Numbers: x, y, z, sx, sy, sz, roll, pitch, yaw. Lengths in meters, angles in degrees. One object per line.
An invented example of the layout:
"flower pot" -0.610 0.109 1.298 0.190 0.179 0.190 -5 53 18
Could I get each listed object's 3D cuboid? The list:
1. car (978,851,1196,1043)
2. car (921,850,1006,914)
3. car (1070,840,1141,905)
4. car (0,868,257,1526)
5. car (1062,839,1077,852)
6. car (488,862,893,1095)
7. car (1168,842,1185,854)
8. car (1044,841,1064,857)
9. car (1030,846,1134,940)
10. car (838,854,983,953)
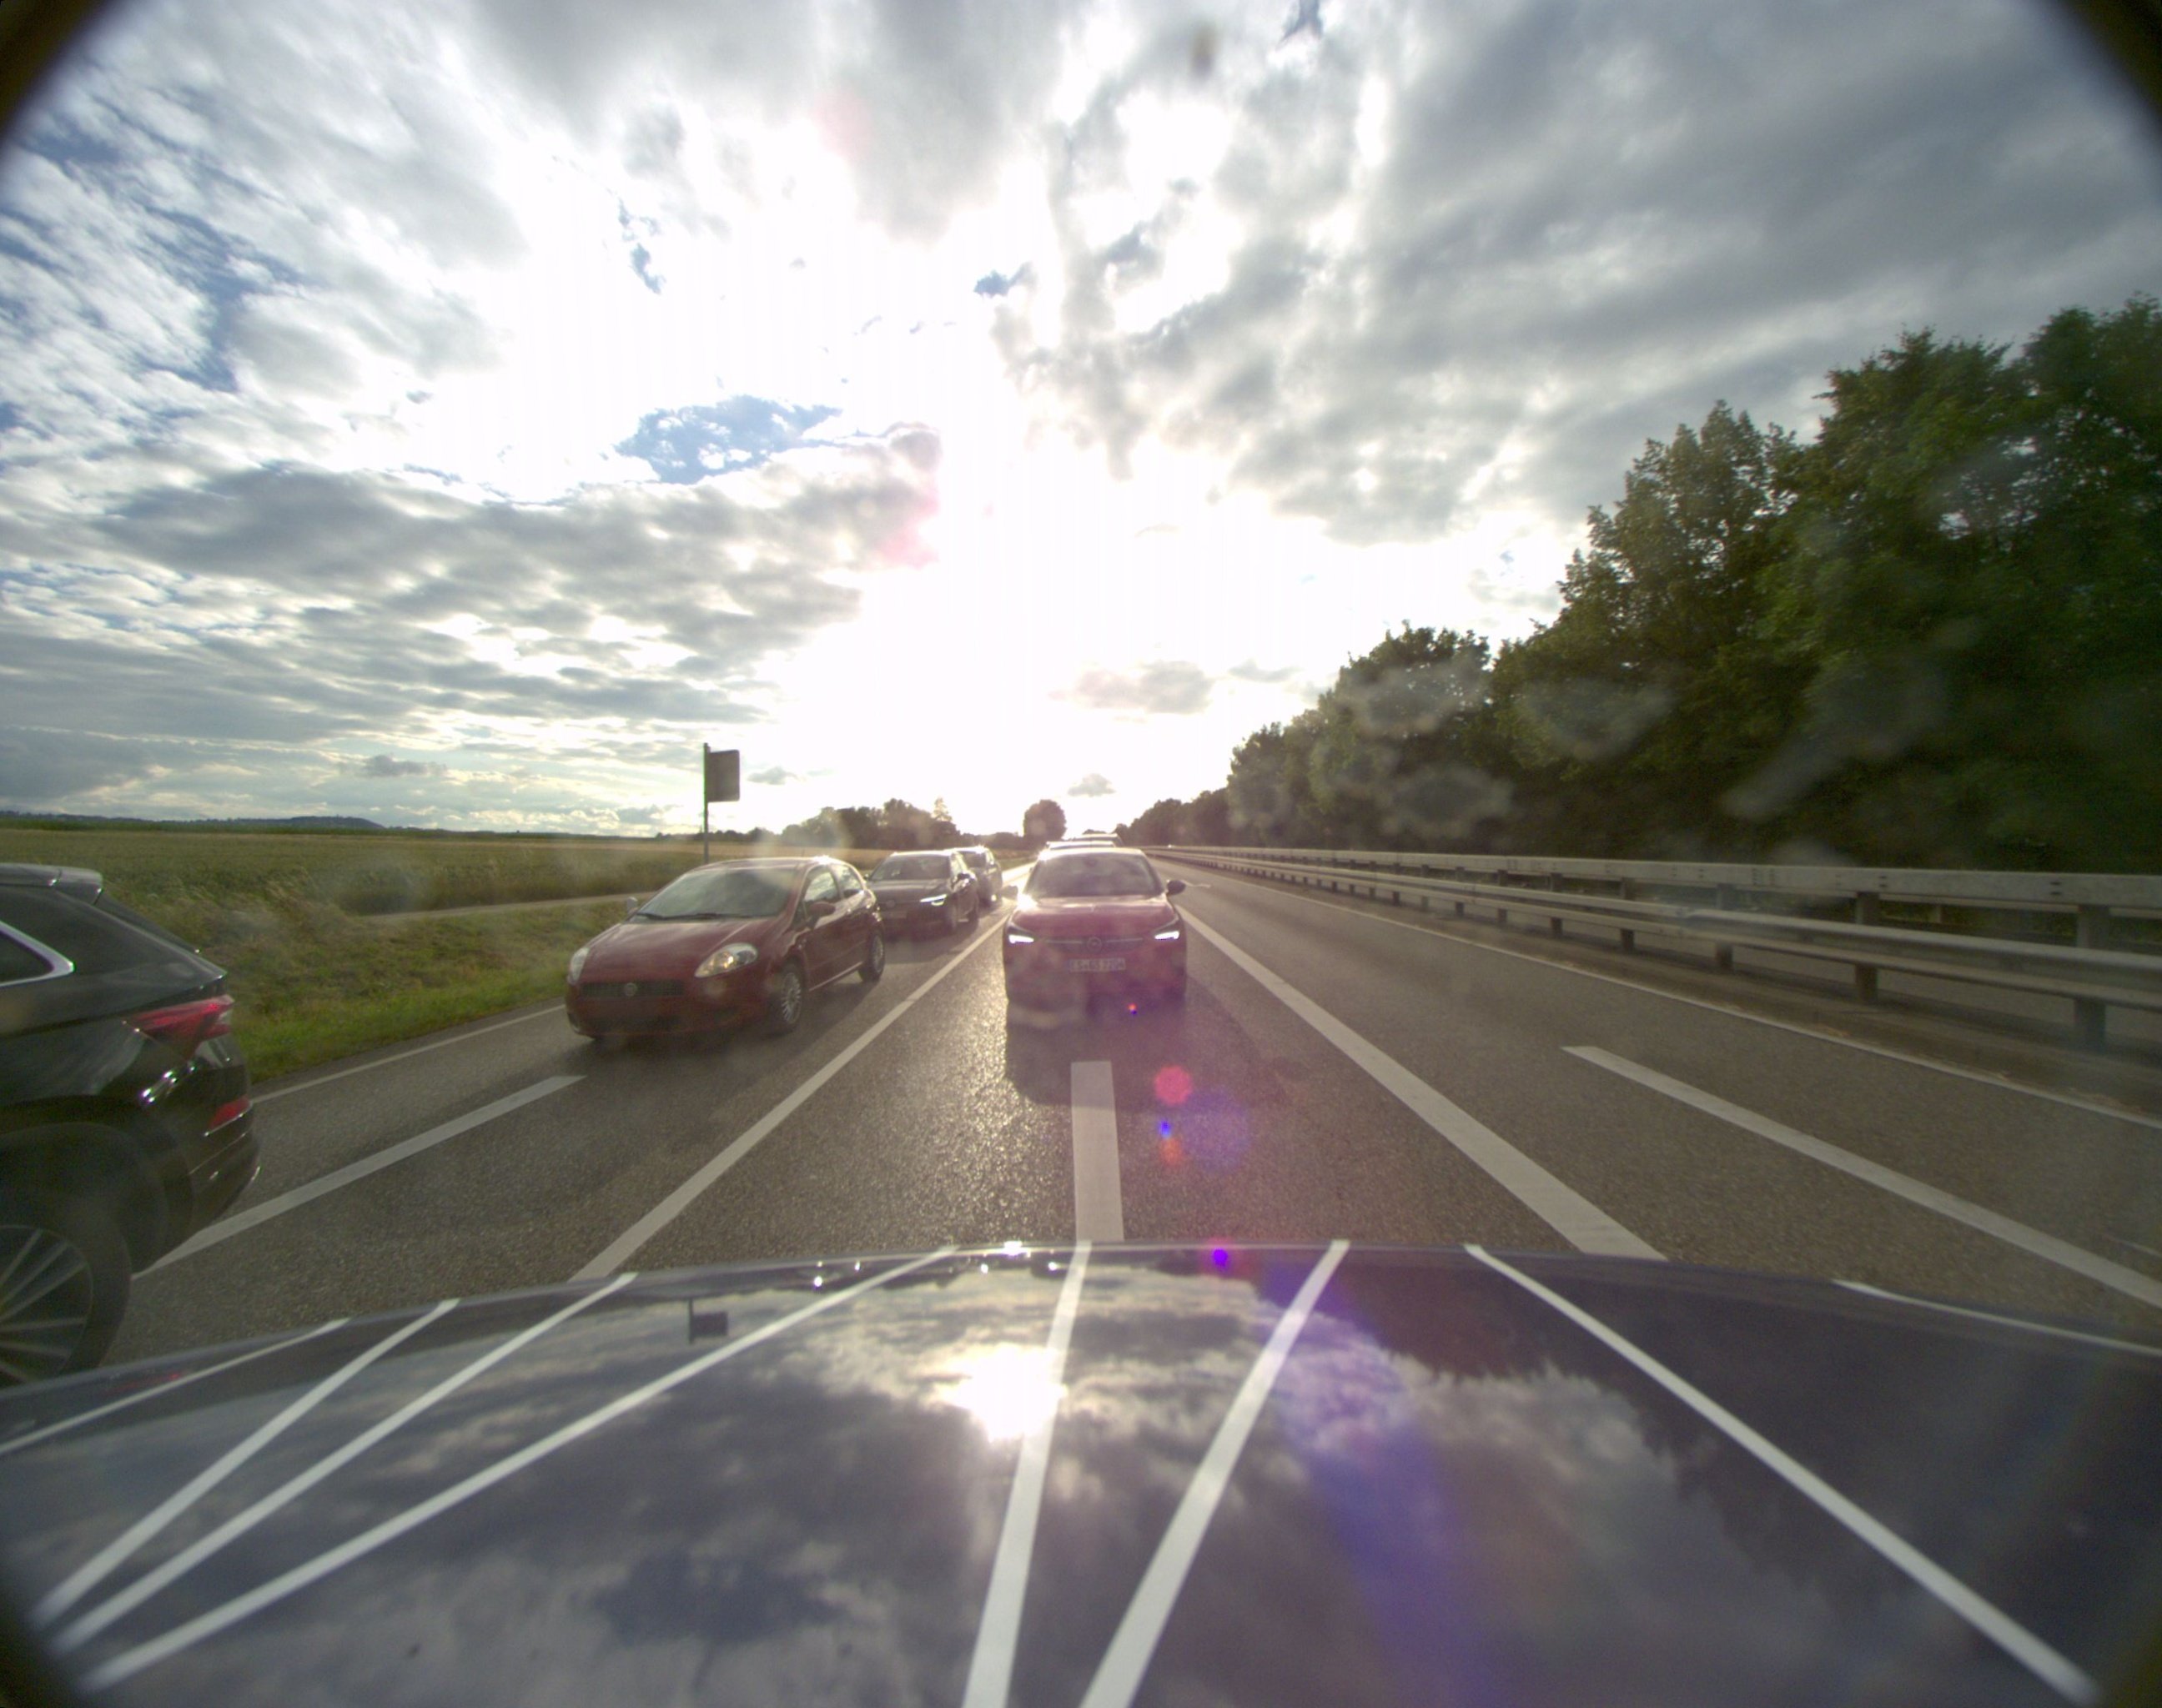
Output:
"car" 0.115 0.755 8.047 1.723 1.467 3.728 -2 1 2
"car" -3.051 0.681 20.351 1.631 1.467 3.474 -2 1 1
"car" 0.711 0.464 21.686 1.786 1.624 3.865 -2 1 2
"car" -3.658 0.936 0.308 1.723 1.658 4.418 -2 1 0
"car" -1.649 -1.152 106.654 1.998 1.740 3.999 1 2 1
"car" -3.179 0.890 7.188 1.668 1.467 3.865 -2 1 2
"car" 14.174 -0.927 112.994 1.949 1.652 3.999 -1 1 0
"car" -2.798 -0.528 80.457 1.949 1.652 3.999 -1 1 0
"car" 0.030 0.635 14.882 1.758 1.543 3.999 -1 1 0
"car" -2.967 0.790 14.072 1.723 1.467 3.865 -2 1 0
